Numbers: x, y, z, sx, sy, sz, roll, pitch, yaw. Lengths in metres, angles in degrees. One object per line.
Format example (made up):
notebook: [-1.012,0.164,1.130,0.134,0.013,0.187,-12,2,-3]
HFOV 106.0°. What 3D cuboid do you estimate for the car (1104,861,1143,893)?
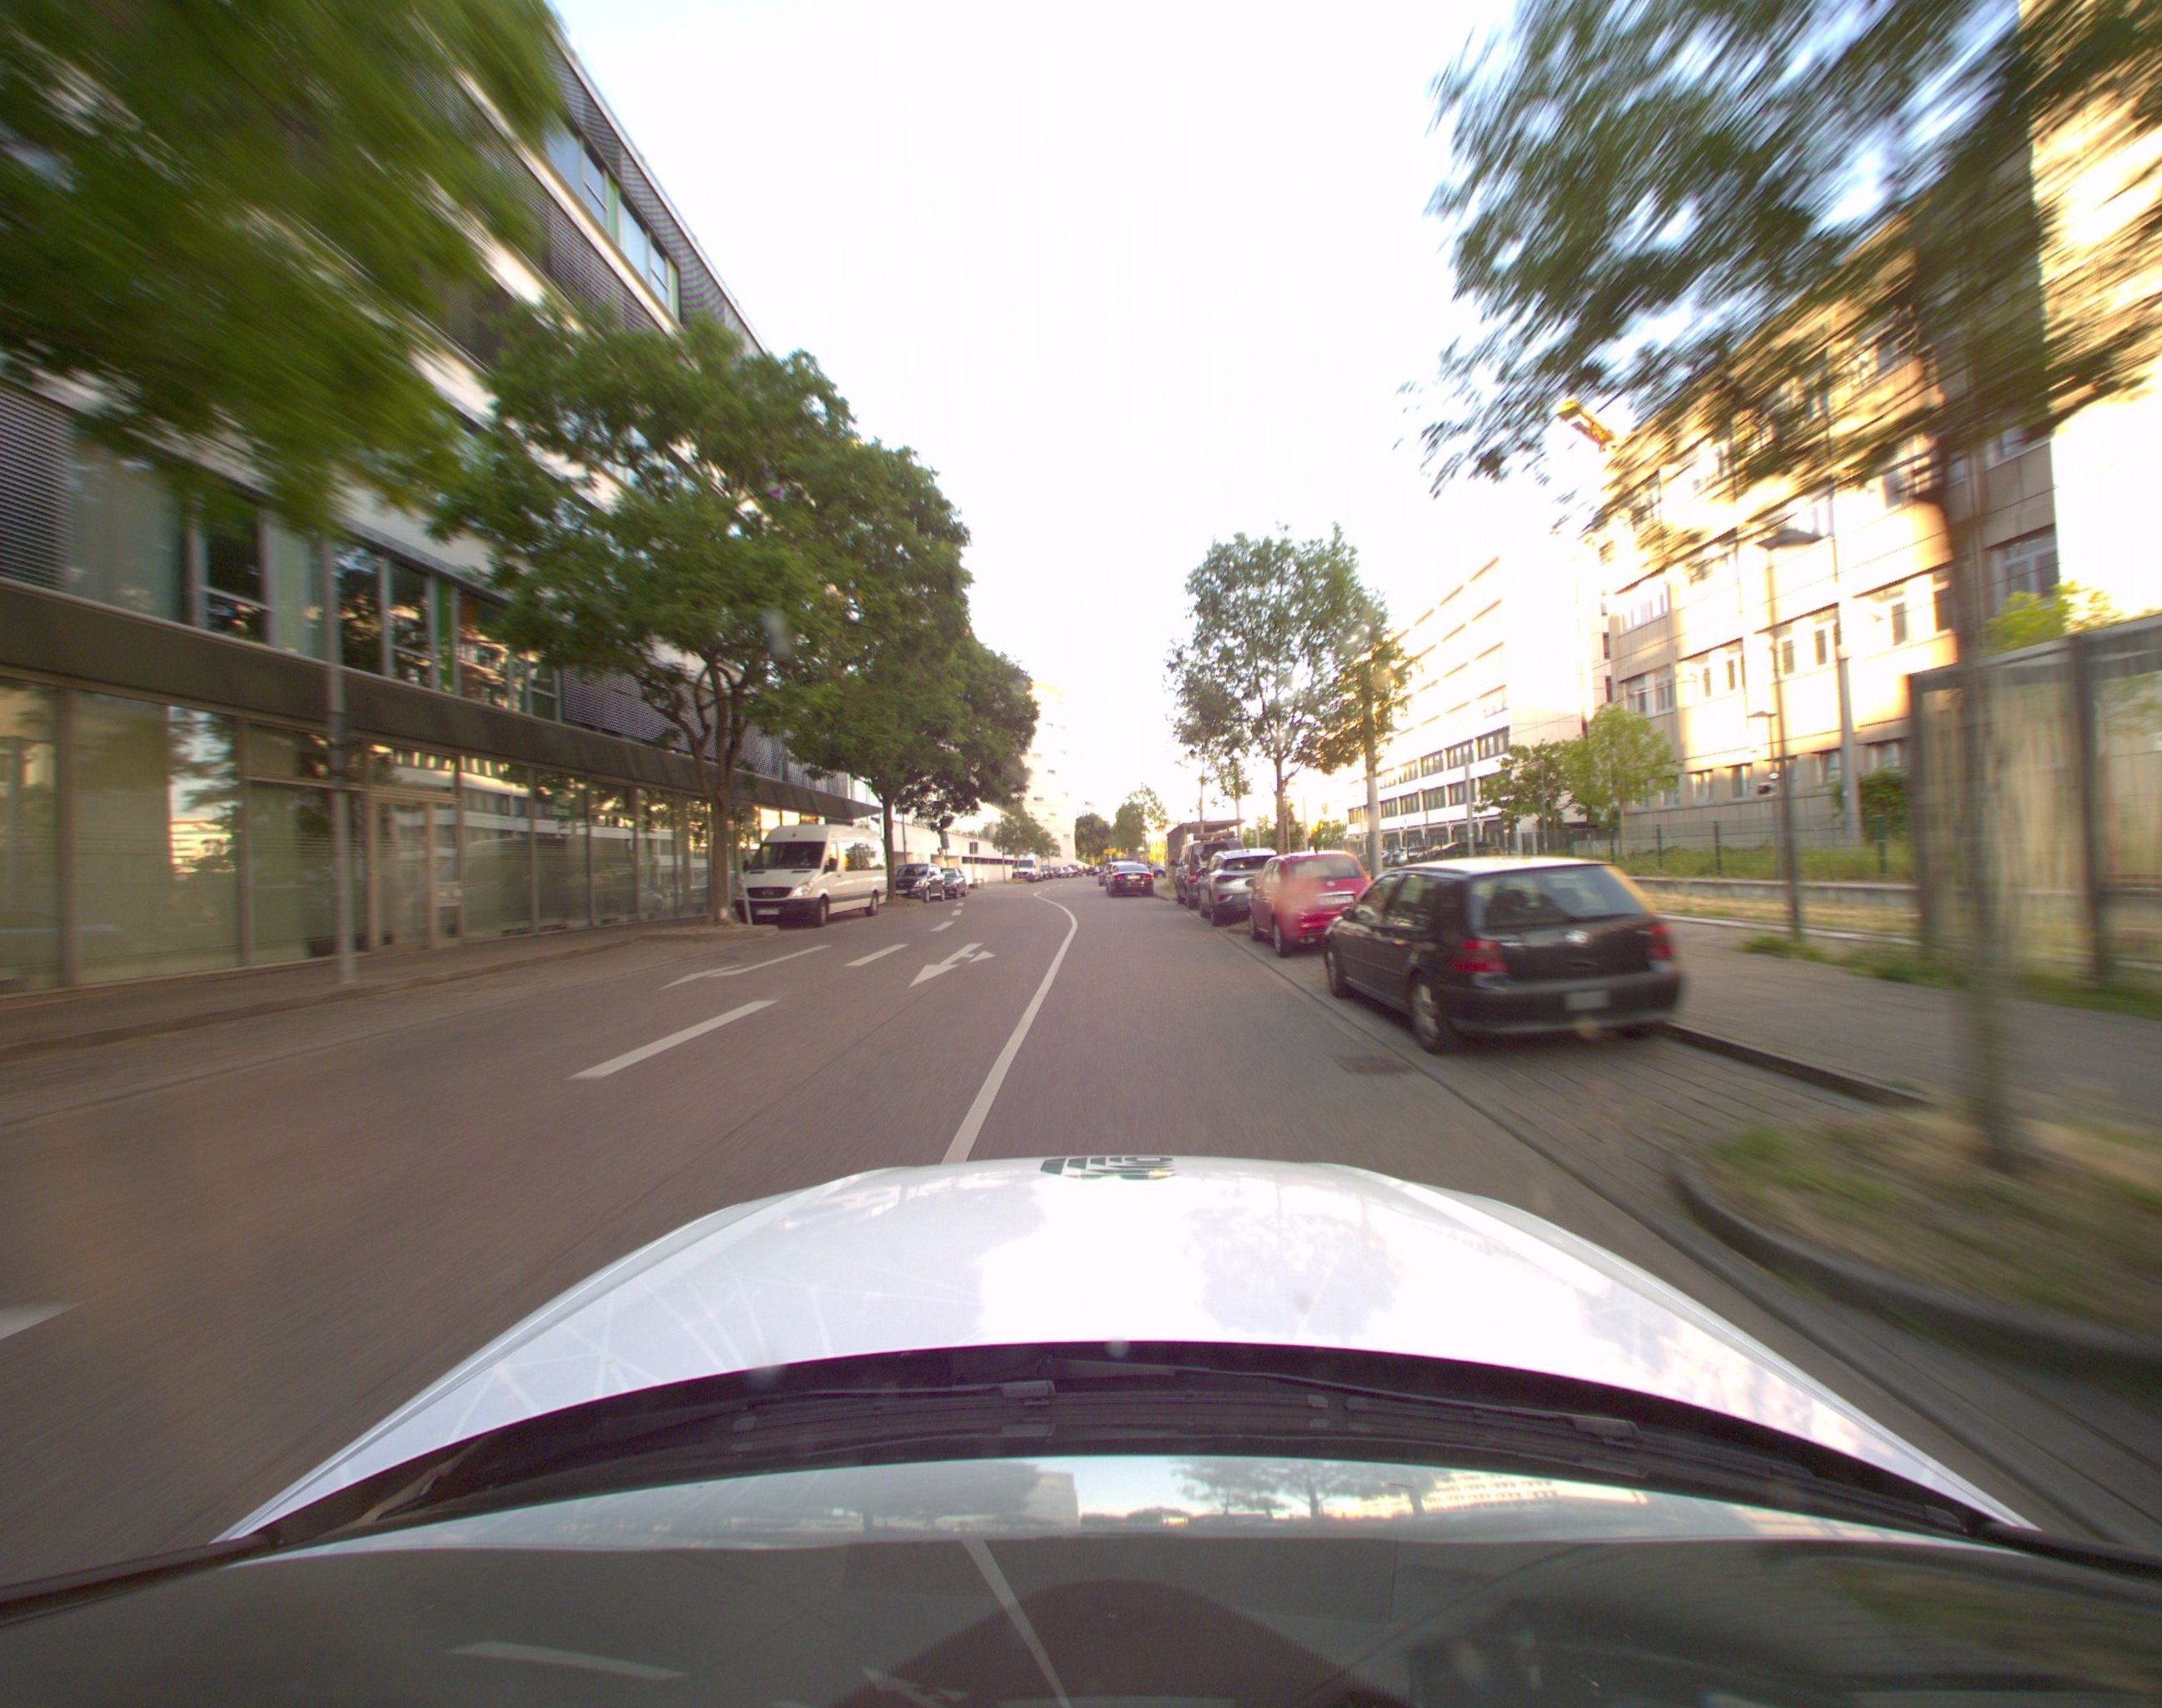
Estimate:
car: [2.100,1.128,41.079,1.671,1.452,4.185,-2,-1,-1]

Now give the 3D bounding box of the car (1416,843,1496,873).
car: [22.634,0.255,49.287,3.971,1.487,1.676,-5,-1,2]

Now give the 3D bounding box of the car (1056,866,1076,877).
car: [-2.003,2.355,109.834,1.711,1.457,4.709,-1,-1,12]

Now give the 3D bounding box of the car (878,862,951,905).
car: [-6.578,1.130,32.664,1.837,1.571,4.269,-2,-1,2]

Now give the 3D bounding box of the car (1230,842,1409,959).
car: [3.671,0.674,13.328,1.701,1.493,4.131,-4,-1,1]

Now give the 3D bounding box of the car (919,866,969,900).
car: [-6.380,1.321,38.220,1.710,1.452,4.395,-2,-1,-2]

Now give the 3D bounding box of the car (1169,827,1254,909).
car: [3.885,0.429,25.048,1.798,2.176,4.736,-4,-1,1]

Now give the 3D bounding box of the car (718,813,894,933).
car: [-7.072,0.475,22.044,2.092,2.664,6.954,-2,-1,2]

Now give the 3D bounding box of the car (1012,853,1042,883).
car: [-4.892,1.290,74.722,1.950,2.617,6.898,0,-1,3]

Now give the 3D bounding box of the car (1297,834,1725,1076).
car: [3.332,0.690,7.310,1.701,1.451,4.000,-4,-1,1]

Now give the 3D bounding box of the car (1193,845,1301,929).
car: [3.682,0.701,18.784,1.700,1.580,4.482,-4,-1,3]

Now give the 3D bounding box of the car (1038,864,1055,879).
car: [-4.036,2.073,96.116,1.749,1.653,3.949,0,-1,1]

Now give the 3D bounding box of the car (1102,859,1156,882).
car: [4.314,1.462,73.135,4.619,2.035,1.852,0,-1,-32]

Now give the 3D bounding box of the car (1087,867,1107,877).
car: [2.456,2.785,125.182,1.928,1.383,4.419,-1,-1,18]

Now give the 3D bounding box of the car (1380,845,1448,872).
car: [23.063,0.330,56.519,3.971,1.487,1.676,-5,-1,2]

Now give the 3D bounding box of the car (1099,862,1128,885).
car: [2.063,1.282,52.898,1.725,1.466,3.999,0,-2,0]

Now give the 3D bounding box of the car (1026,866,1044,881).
car: [-4.545,1.951,80.953,1.752,1.440,3.897,0,-1,-3]

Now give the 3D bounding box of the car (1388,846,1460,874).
car: [22.741,0.390,54.061,3.971,1.487,1.676,-5,-1,2]

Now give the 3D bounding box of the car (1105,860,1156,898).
car: [2.075,1.042,35.178,1.782,1.452,4.513,-2,-1,-1]

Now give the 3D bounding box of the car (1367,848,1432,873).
car: [23.142,0.466,59.256,3.974,1.513,1.824,-4,-1,0]

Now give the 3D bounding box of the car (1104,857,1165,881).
car: [3.853,1.081,58.703,4.016,1.520,1.907,-2,-2,-34]

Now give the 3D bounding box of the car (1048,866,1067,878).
car: [-2.982,2.326,104.265,1.712,1.457,4.281,0,-1,8]
